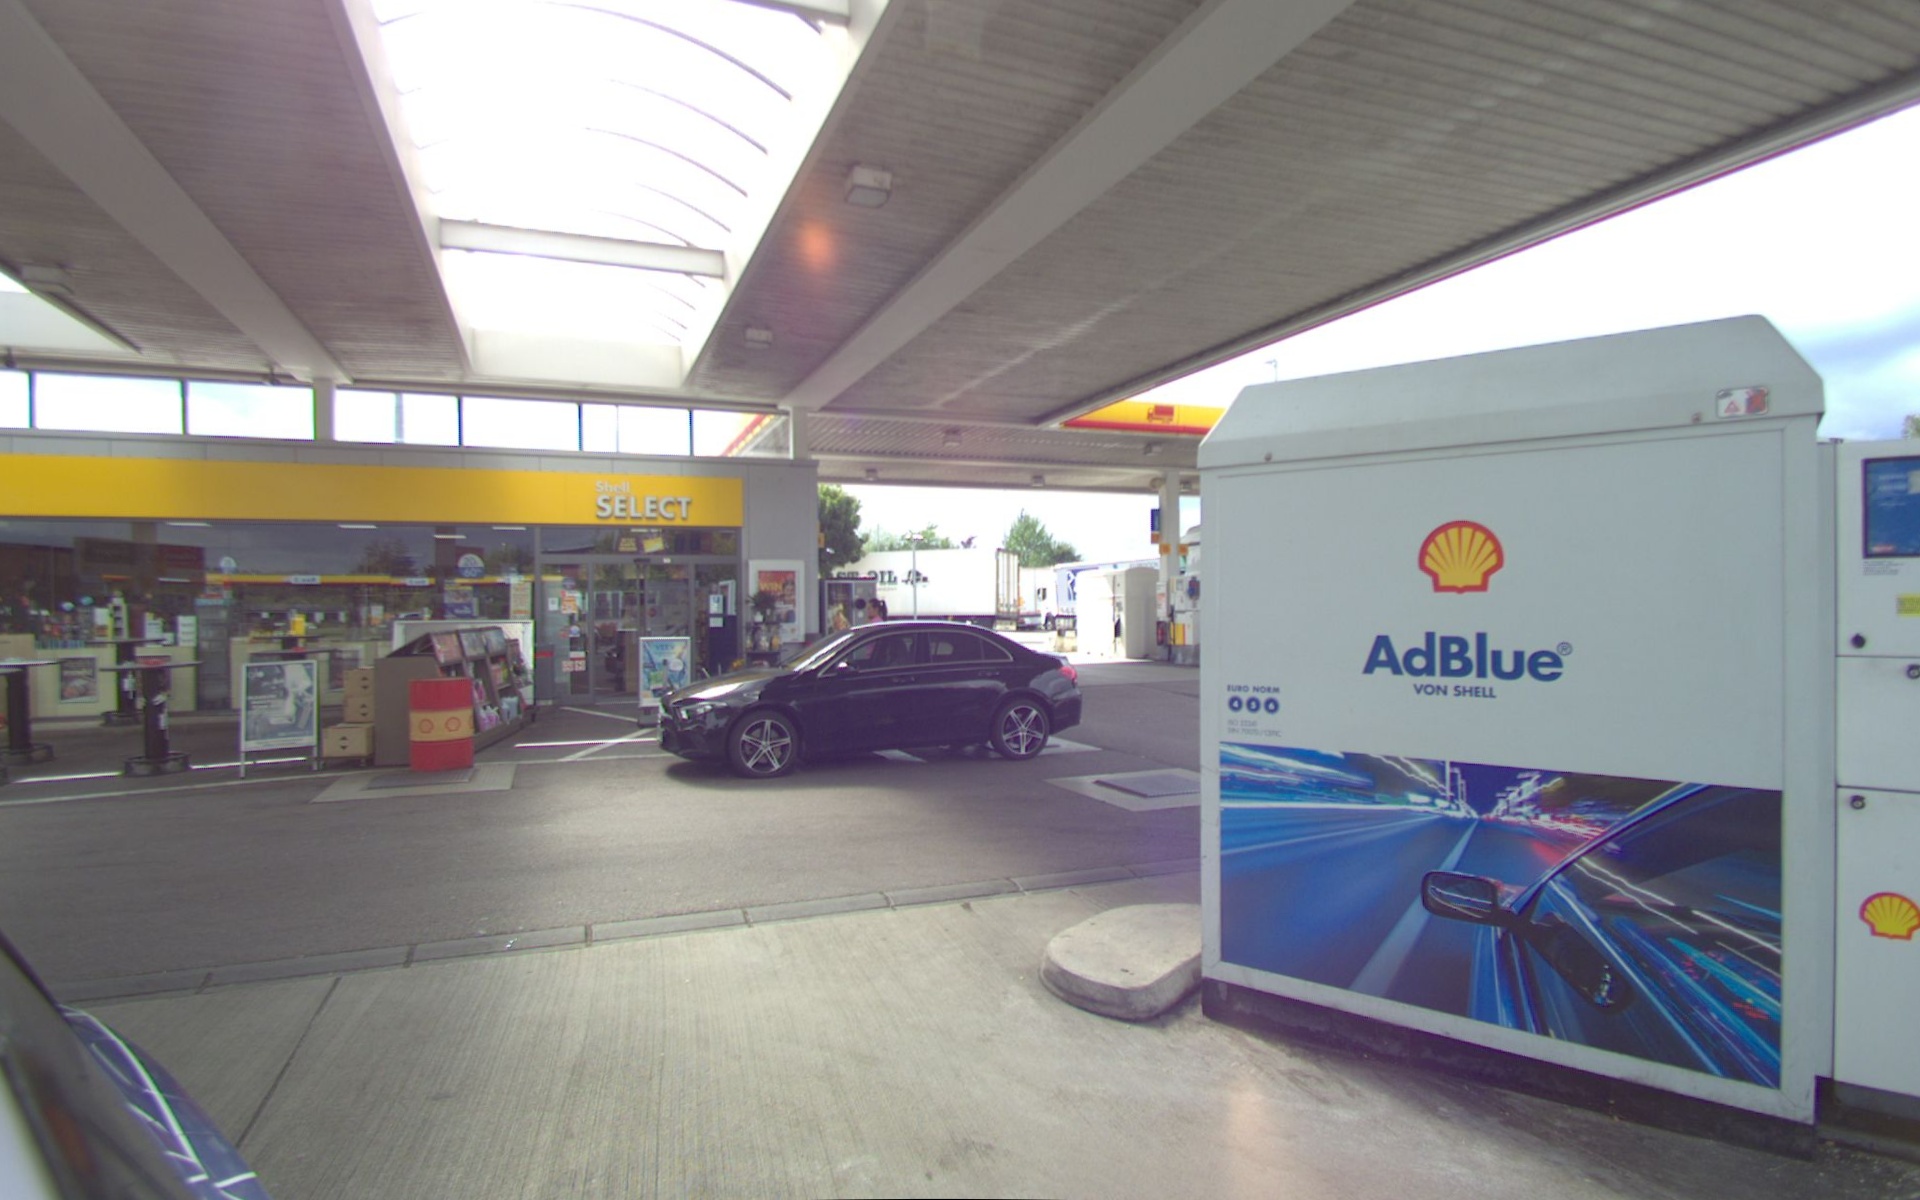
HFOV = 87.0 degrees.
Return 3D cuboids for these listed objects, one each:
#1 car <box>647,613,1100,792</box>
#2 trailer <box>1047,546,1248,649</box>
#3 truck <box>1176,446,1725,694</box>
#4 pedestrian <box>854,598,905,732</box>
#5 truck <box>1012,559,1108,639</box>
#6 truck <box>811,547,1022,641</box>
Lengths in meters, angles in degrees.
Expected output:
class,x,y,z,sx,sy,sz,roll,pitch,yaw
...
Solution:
class,x,y,z,sx,sy,sz,roll,pitch,yaw
car,-0.917,0.934,10.655,4.394,1.511,1.785,-1,0,-21
trailer,9.120,-0.117,52.650,3.294,4.600,14.397,-1,0,-20
truck,9.667,-0.476,23.078,2.491,4.069,12.947,-1,0,-22
pedestrian,-1.077,0.839,13.439,0.613,1.726,0.628,-1,0,-7
truck,5.944,-0.068,61.198,3.333,4.538,6.249,-1,0,-20
truck,-2.089,-0.196,46.818,9.536,4.036,2.772,-1,0,25
